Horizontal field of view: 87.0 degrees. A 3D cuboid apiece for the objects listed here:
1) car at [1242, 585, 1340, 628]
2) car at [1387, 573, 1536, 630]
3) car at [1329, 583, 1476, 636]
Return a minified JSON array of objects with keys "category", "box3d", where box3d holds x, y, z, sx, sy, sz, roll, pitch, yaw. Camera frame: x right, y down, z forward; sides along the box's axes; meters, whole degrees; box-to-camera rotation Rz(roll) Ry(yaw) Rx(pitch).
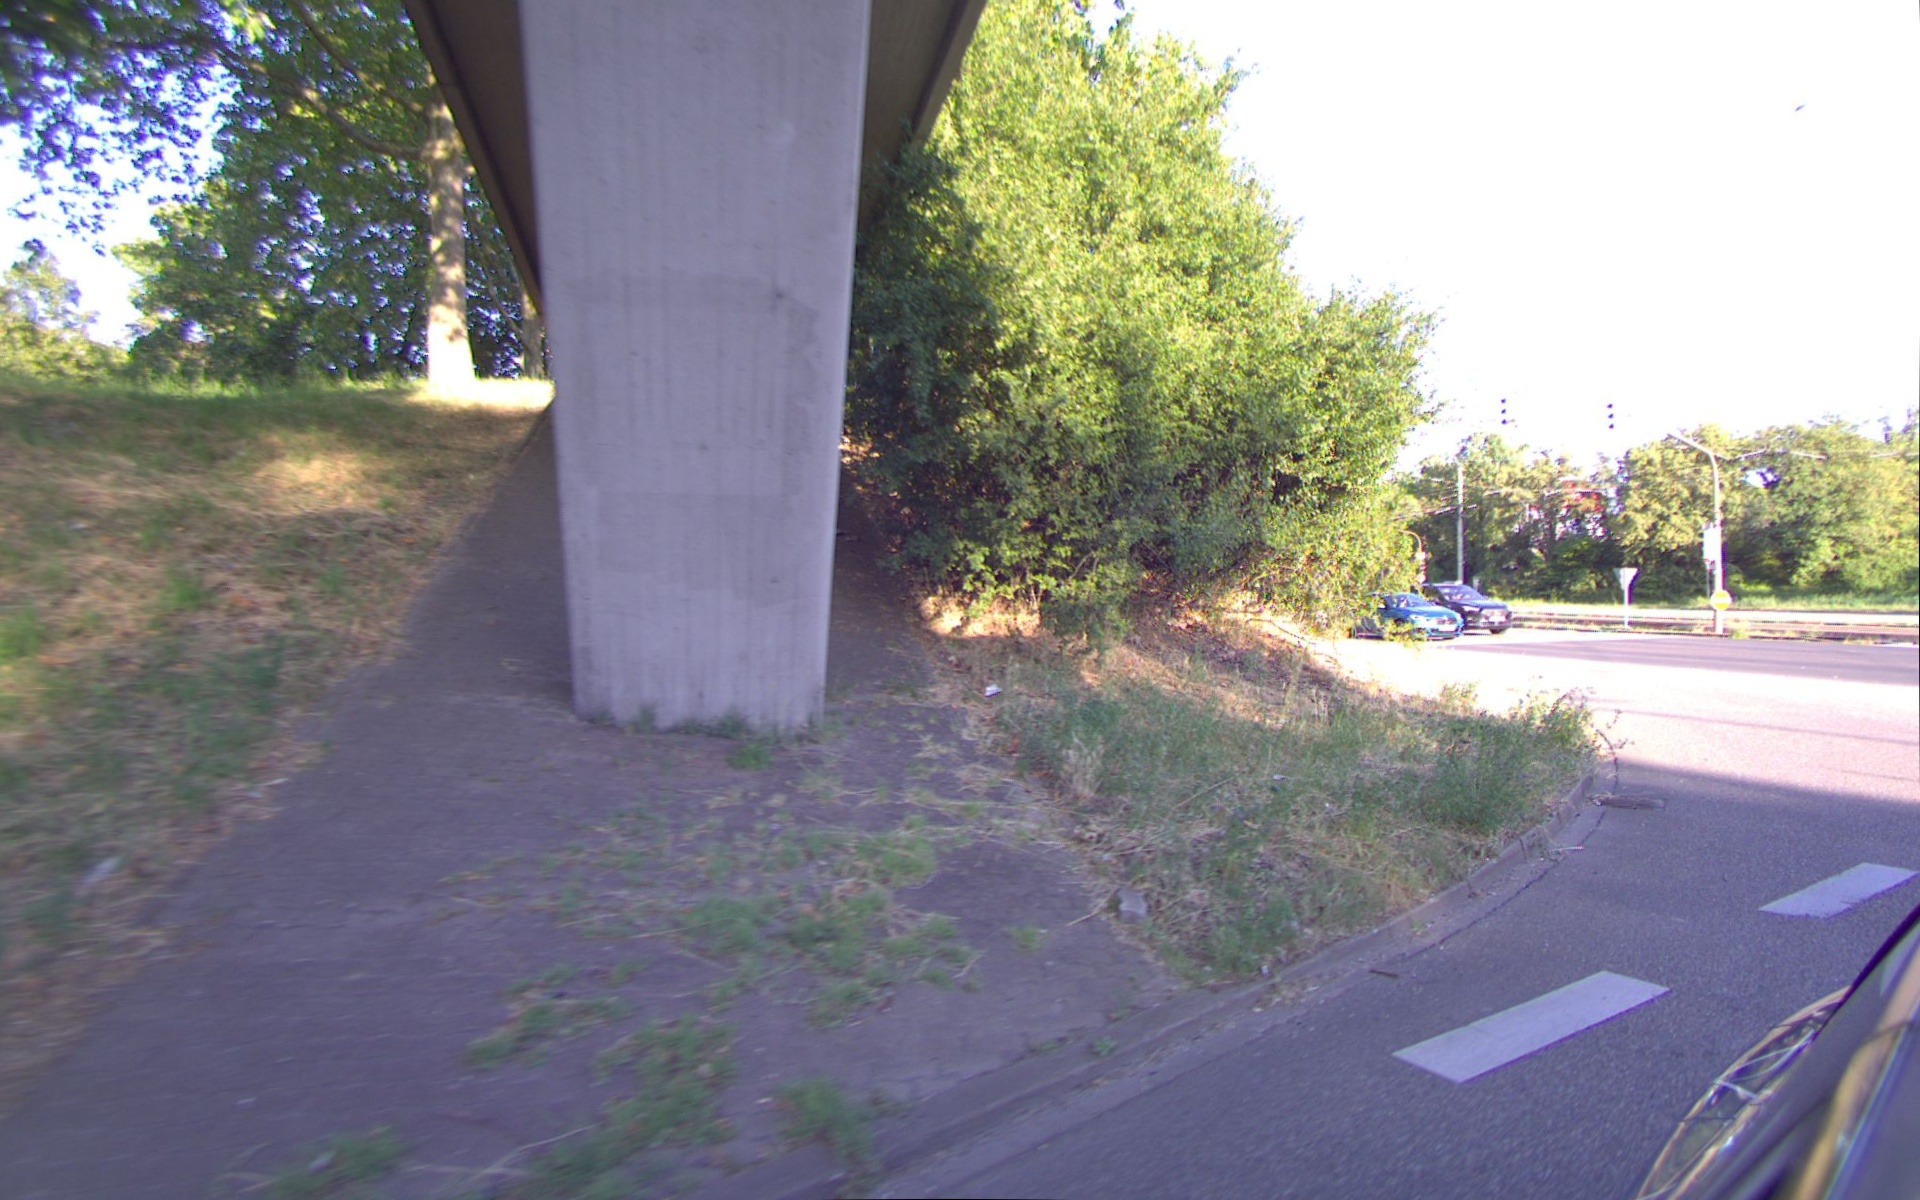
[{"category":"car","box3d":[12.036,0.200,37.063,1.632,1.448,3.931,-1,1,-11]},{"category":"car","box3d":[16.176,0.014,32.968,1.882,1.702,4.610,-1,1,-11]},{"category":"car","box3d":[13.329,0.241,30.812,1.753,1.435,4.522,-1,1,-13]}]
